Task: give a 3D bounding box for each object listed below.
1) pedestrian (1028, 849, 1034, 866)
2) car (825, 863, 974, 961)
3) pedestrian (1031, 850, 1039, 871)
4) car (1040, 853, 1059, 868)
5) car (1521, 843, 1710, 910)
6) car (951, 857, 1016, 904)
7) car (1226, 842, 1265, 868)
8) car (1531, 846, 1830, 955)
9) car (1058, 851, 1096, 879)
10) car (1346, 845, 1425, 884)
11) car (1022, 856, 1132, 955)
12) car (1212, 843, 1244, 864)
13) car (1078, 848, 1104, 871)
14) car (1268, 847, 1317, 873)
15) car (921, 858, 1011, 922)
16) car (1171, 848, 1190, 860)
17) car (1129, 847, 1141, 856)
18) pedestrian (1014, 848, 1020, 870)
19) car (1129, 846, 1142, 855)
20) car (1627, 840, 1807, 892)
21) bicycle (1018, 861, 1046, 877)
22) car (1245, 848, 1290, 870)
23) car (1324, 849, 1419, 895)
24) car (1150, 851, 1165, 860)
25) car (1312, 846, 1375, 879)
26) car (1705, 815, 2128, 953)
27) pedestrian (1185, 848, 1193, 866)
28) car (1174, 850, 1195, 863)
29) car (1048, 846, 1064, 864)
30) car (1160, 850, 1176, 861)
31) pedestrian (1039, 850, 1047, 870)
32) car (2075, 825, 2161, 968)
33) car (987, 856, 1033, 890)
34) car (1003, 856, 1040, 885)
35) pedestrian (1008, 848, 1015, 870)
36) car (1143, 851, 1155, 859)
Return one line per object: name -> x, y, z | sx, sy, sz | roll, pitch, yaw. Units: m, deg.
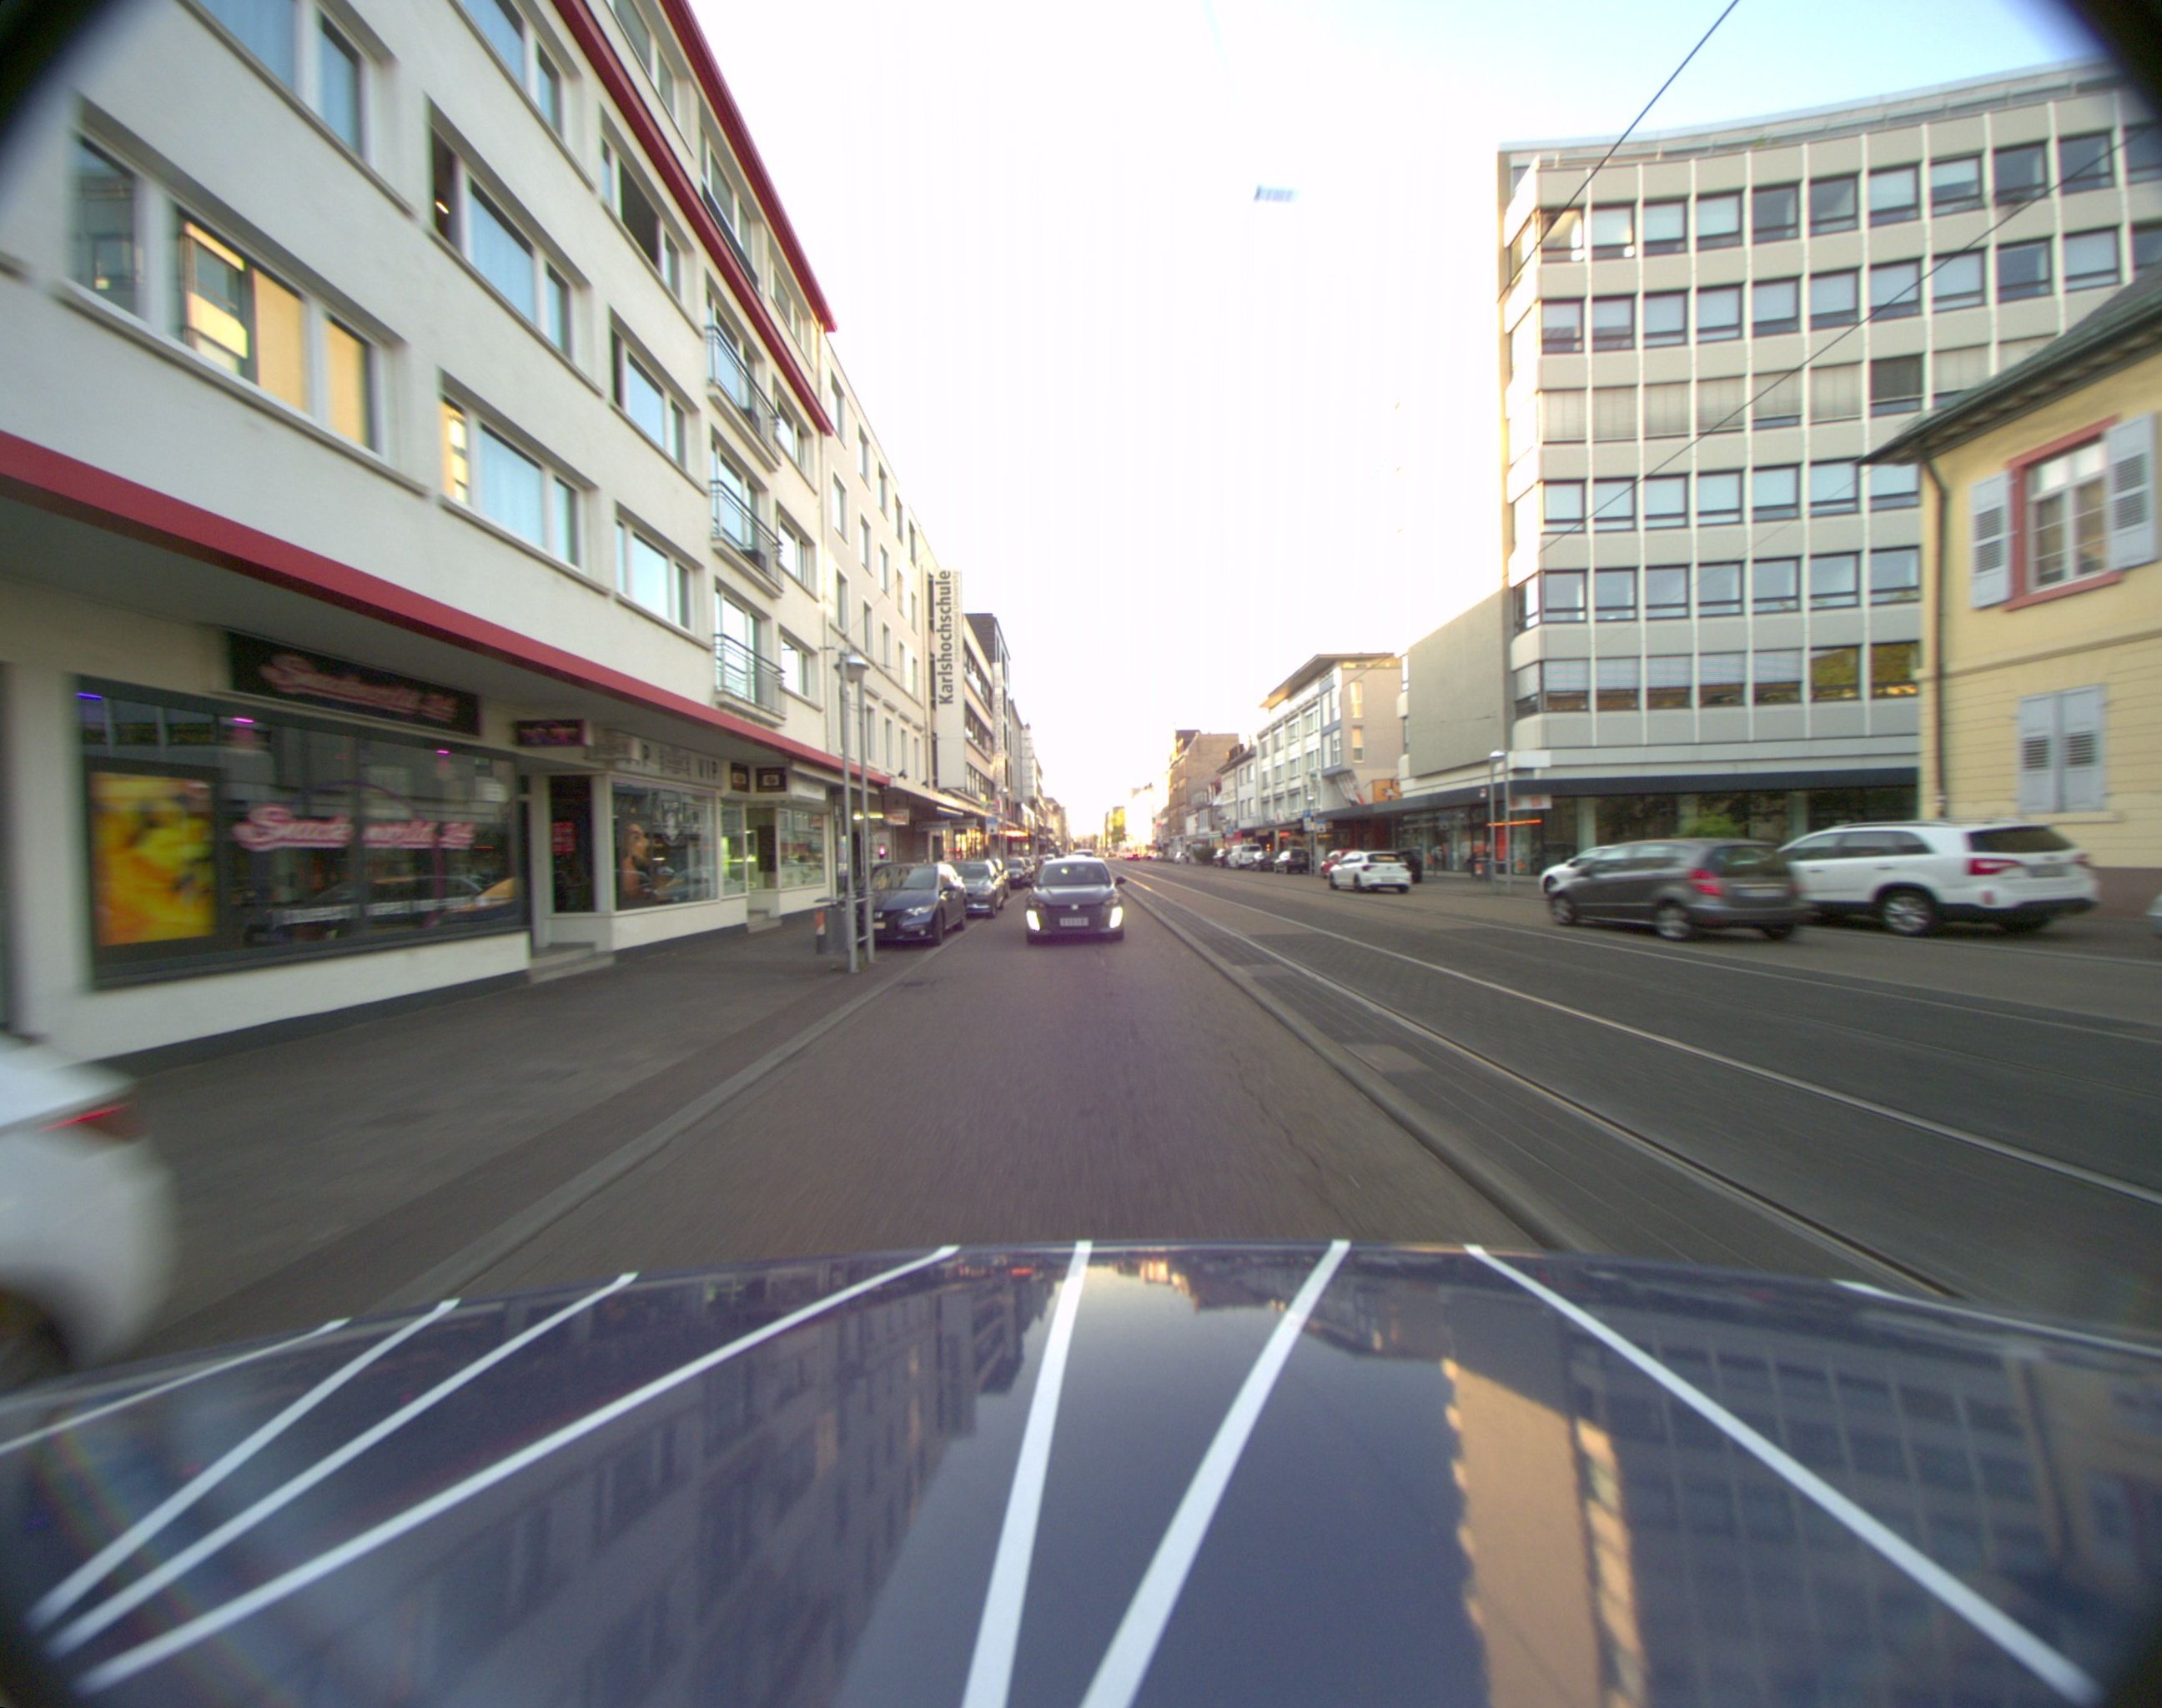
pedestrian -> -5.937, 0.401, 90.467 | 0.711, 2.002, 0.824 | -1, 1, 0
car -> -3.208, 0.952, 14.304 | 1.739, 1.503, 4.303 | 0, 0, 0
pedestrian -> -3.915, 0.507, 64.041 | 0.610, 1.743, 0.605 | -1, 1, 0
car -> -3.120, 0.627, 75.817 | 1.682, 1.534, 3.886 | 0, 0, 1
car -> 13.361, 0.501, 19.386 | 1.817, 1.503, 4.432 | -1, 0, 2
car -> -3.296, 0.855, 26.375 | 1.690, 1.503, 4.034 | 0, 0, 0
car -> 13.235, 0.048, 61.503 | 1.960, 1.965, 5.162 | -1, 0, -1
car -> 9.748, 0.654, 12.843 | 1.740, 1.503, 4.033 | -1, 0, -3
car -> -0.205, 0.592, 42.722 | 1.999, 1.450, 3.999 | -1, 0, 0
car -> 13.016, 0.405, 32.764 | 1.690, 1.503, 4.214 | -2, 0, 0
car -> -0.108, 0.846, 14.591 | 1.732, 1.513, 4.333 | -2, 0, -1
car -> 13.307, -0.052, 69.005 | 1.863, 1.711, 4.527 | -2, 0, -1
car -> 0.773, 0.467, 63.072 | 1.999, 1.805, 3.999 | -1, 0, -1
car -> 13.091, 0.329, 47.267 | 1.690, 1.503, 4.445 | -2, 0, -1
car -> -2.965, 0.872, 20.494 | 1.794, 1.503, 4.711 | 0, 0, -1
car -> 13.255, -0.023, 101.780 | 1.914, 1.535, 4.552 | -1, 0, 0
car -> 10.168, -0.517, 143.310 | 1.998, 1.543, 4.000 | -1, 0, 0
pedestrian -> -5.372, 0.421, 64.071 | 0.456, 1.888, 0.421 | -1, 1, 0
car -> 9.726, -0.597, 134.990 | 1.999, 1.543, 3.999 | 1, 1, 0
car -> 19.680, 0.358, 23.638 | 3.996, 1.458, 1.846 | -1, 0, 2
bicycle -> -3.371, 1.006, 52.224 | 1.891, 1.071, 0.676 | 1, 1, -3
car -> 13.182, 0.326, 53.982 | 1.998, 1.457, 4.557 | -2, 0, -1
car -> 10.136, 0.572, 26.864 | 1.811, 1.503, 4.034 | -1, 0, 0
car -> 12.918, 0.225, 128.251 | 1.998, 1.543, 4.206 | -1, 0, 0
car -> 13.071, 0.393, 38.045 | 1.690, 1.503, 4.214 | -2, 0, 0
car -> 13.088, 0.390, 12.458 | 1.817, 1.775, 4.496 | -3, 0, -4
pedestrian -> 12.423, 0.325, 87.120 | 0.823, 2.002, 0.713 | -1, 1, 16
car -> 13.092, 0.297, 96.196 | 1.998, 1.535, 4.878 | -2, 0, 1
car -> -3.418, 0.144, 103.260 | 2.046, 2.371, 5.584 | -1, 0, -1
car -> 13.403, 0.201, 116.866 | 1.998, 1.543, 4.000 | -1, 0, 0
pedestrian -> -3.192, 0.500, 64.336 | 0.605, 1.717, 0.646 | -1, 1, 0
car -> 13.343, 0.465, 7.353 | 1.817, 1.608, 4.213 | -3, 0, -2
car -> -3.280, 0.839, 35.756 | 1.725, 1.503, 4.167 | 0, 0, 0
car -> -3.304, 0.895, 42.757 | 1.748, 1.503, 4.257 | 0, 0, 0
pedestrian -> -5.947, 0.438, 65.097 | 0.452, 1.888, 0.421 | -1, 1, 0
car -> 13.411, 0.143, 150.377 | 1.998, 1.543, 4.000 | -1, 0, 0
